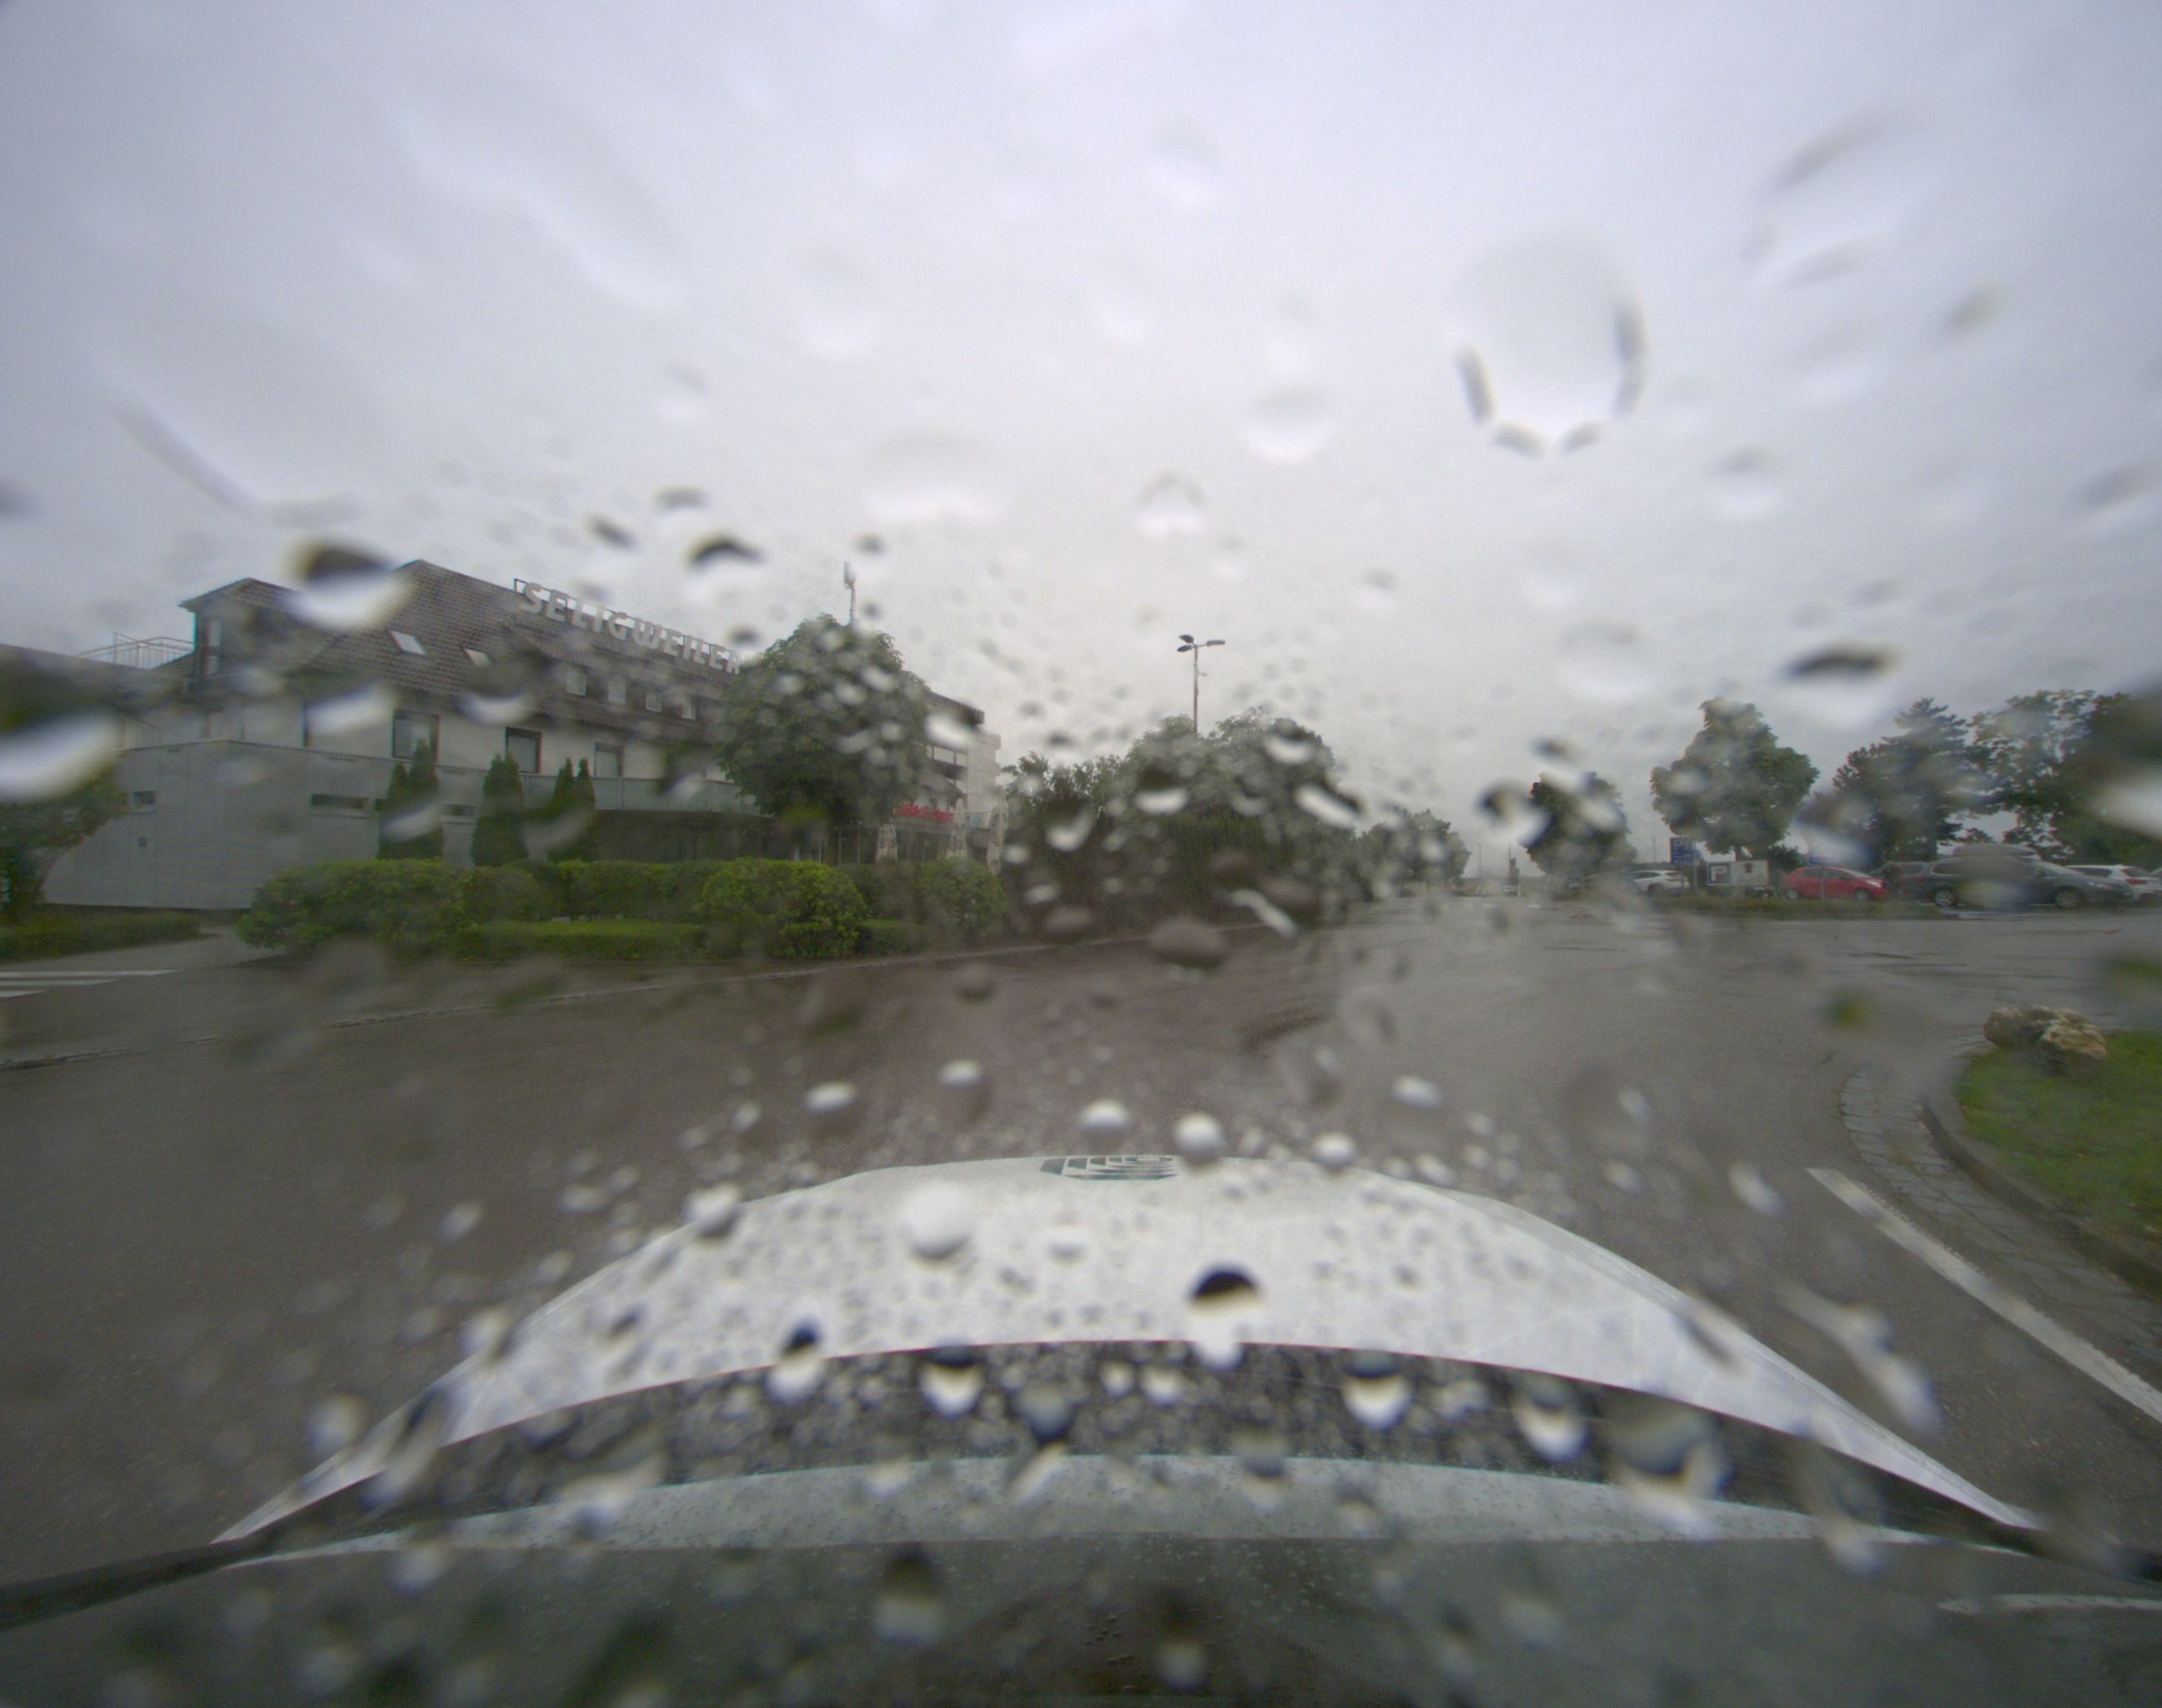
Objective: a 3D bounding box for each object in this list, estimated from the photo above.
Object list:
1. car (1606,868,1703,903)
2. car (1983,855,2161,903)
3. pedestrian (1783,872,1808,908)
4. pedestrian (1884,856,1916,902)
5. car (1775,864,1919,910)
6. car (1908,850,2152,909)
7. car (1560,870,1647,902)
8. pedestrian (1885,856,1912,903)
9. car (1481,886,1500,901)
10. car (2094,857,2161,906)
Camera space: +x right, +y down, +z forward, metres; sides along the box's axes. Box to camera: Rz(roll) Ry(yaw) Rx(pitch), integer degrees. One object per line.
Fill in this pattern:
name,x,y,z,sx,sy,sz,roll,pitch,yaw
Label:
car,32.881,1.827,46.838,1.720,1.862,4.339,2,-3,-19
car,34.296,0.859,27.899,1.742,1.517,4.172,-1,-2,-17
pedestrian,27.198,1.373,30.996,0.636,1.362,0.455,0,-3,30
pedestrian,29.470,0.915,29.299,0.650,1.639,0.707,4,-5,-41
car,32.387,1.402,34.580,1.850,1.792,3.996,0,-2,-19
car,31.709,0.877,27.475,2.000,1.792,4.918,0,-2,-19
car,29.684,1.823,46.413,1.720,1.716,3.999,2,-3,-19
pedestrian,30.898,0.967,30.768,0.686,1.725,0.604,4,-3,-36
car,58.442,5.598,116.254,1.687,2.014,4.024,0,-3,37
car,41.993,1.048,30.940,1.850,1.862,3.996,2,-3,-19
